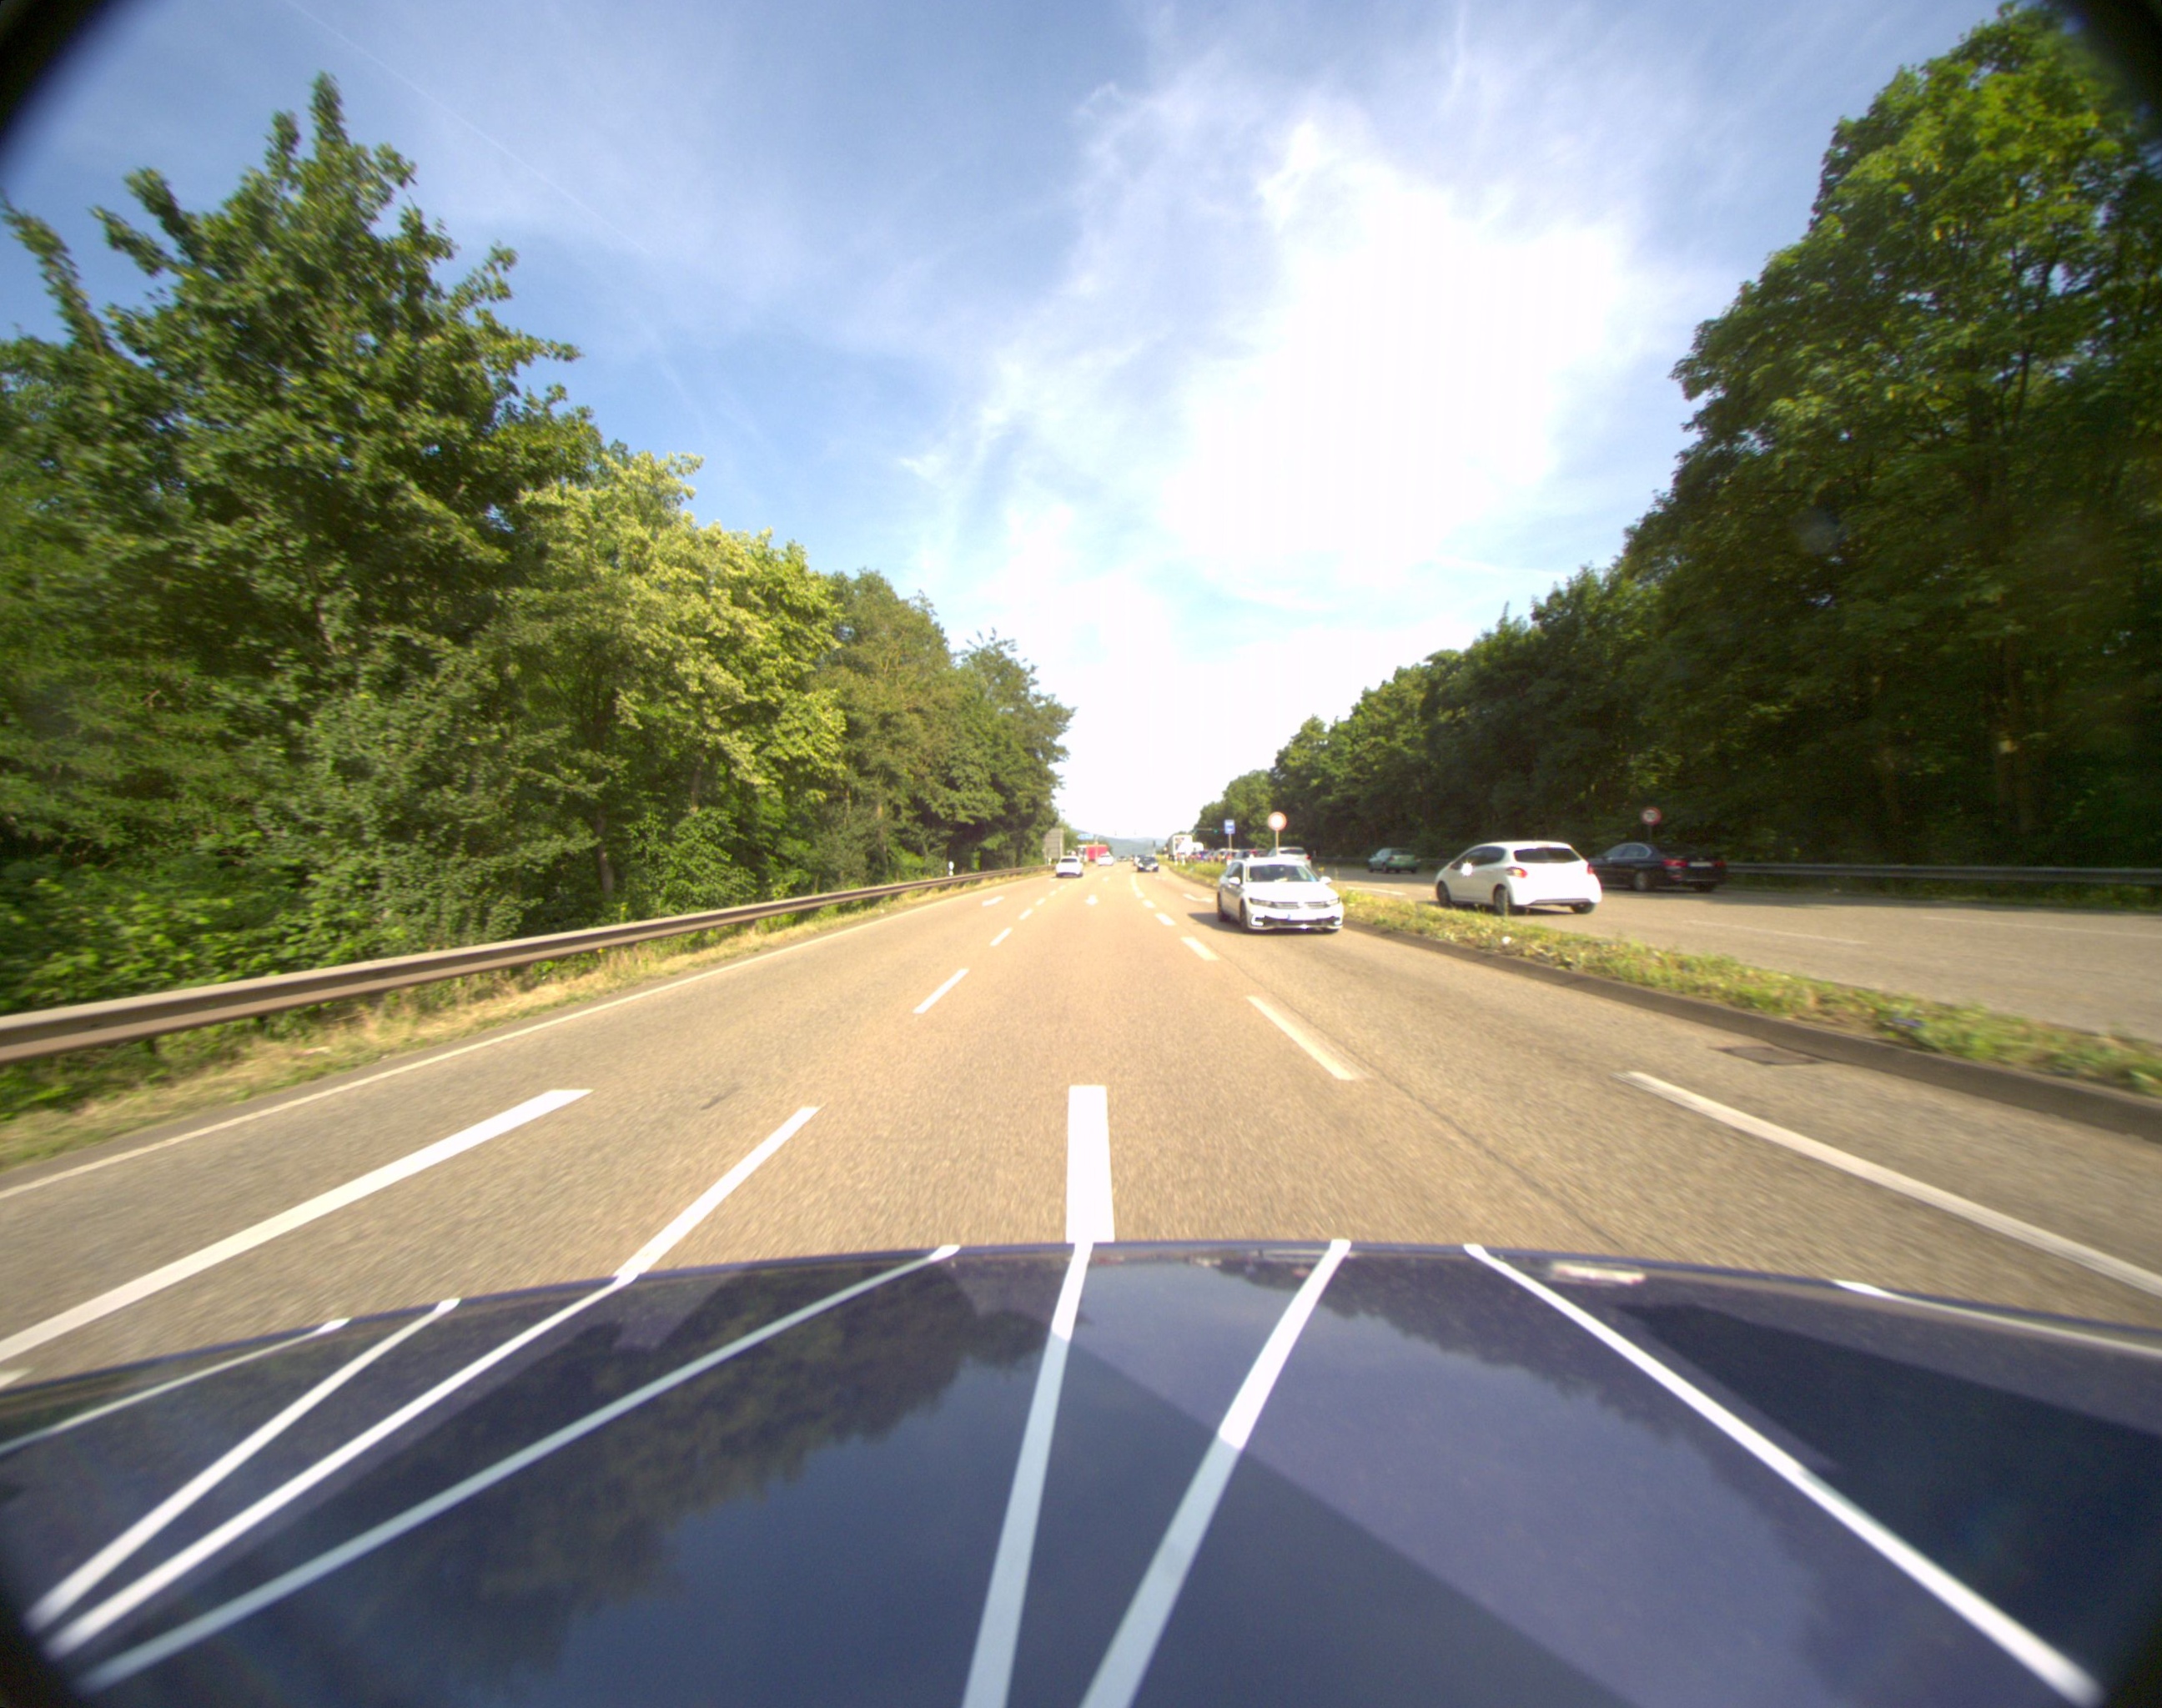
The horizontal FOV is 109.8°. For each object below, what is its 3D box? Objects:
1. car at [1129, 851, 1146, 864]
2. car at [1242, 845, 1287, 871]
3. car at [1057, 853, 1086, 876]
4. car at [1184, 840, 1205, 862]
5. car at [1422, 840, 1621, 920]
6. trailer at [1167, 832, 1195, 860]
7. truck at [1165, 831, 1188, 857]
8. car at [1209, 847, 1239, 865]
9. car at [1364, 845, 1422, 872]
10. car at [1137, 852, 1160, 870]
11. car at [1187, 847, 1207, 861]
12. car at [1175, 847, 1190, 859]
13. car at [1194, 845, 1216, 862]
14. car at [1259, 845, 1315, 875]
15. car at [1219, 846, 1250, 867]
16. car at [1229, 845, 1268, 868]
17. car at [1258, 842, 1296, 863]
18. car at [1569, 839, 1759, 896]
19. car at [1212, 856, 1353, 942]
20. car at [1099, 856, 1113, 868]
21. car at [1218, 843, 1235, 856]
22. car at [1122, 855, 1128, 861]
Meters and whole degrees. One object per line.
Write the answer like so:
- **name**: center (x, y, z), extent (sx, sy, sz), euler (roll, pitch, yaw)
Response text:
- **car**: center (7.461, 0.426, 100.283), extent (1.998, 1.632, 4.001), euler (-4, 0, 3)
- **car**: center (10.523, 0.233, 43.891), extent (1.771, 1.409, 4.435), euler (-1, 0, 4)
- **car**: center (-0.629, 0.766, 56.589), extent (1.874, 1.625, 4.835), euler (-1, 0, 2)
- **car**: center (13.894, -0.368, 93.188), extent (2.079, 2.519, 6.165), euler (-1, 0, 4)
- **car**: center (9.024, 0.480, 16.048), extent (1.792, 1.403, 4.227), euler (-2, 0, 1)
- **trailer**: center (15.531, -1.186, 118.801), extent (2.998, 3.972, 14.016), euler (-4, 0, 3)
- **truck**: center (15.813, -1.592, 126.178), extent (2.897, 3.974, 6.723), euler (-4, 0, 2)
- **car**: center (11.749, 0.169, 62.774), extent (1.775, 1.415, 5.194), euler (-1, 0, 4)
- **car**: center (17.495, 0.241, 42.839), extent (1.742, 1.370, 4.376), euler (-1, 0, 4)
- **car**: center (6.144, 0.646, 69.724), extent (1.861, 1.452, 4.570), euler (-4, 0, 3)
- **car**: center (12.950, -0.009, 84.847), extent (1.764, 1.448, 5.187), euler (-1, 0, 4)
- **car**: center (14.480, -0.179, 108.100), extent (1.704, 1.622, 4.371), euler (-1, 0, 3)
- **car**: center (12.664, -0.067, 78.048), extent (1.775, 1.659, 4.802), euler (-1, 0, 4)
- **car**: center (10.254, 0.290, 38.196), extent (1.872, 1.409, 4.417), euler (-1, 0, 4)
- **car**: center (11.242, 0.175, 55.790), extent (1.710, 1.415, 4.212), euler (-1, 0, 4)
- **car**: center (10.976, 0.171, 50.128), extent (1.771, 1.415, 5.195), euler (-1, 0, 4)
- **car**: center (16.965, -0.120, 66.046), extent (2.107, 1.698, 6.227), euler (-1, 0, 4)
- **car**: center (16.313, 0.345, 21.637), extent (1.792, 1.398, 4.754), euler (-2, 0, 1)
- **car**: center (4.052, 0.824, 16.156), extent (1.874, 1.512, 4.835), euler (1, 0, 2)
- **car**: center (3.642, 1.102, 111.483), extent (1.998, 1.632, 4.000), euler (-4, 0, 1)
- **car**: center (22.699, -0.678, 118.772), extent (2.016, 1.924, 5.103), euler (1, 0, 4)
- **car**: center (11.904, 1.111, 204.905), extent (1.498, 1.346, 3.554), euler (-4, 0, 1)
